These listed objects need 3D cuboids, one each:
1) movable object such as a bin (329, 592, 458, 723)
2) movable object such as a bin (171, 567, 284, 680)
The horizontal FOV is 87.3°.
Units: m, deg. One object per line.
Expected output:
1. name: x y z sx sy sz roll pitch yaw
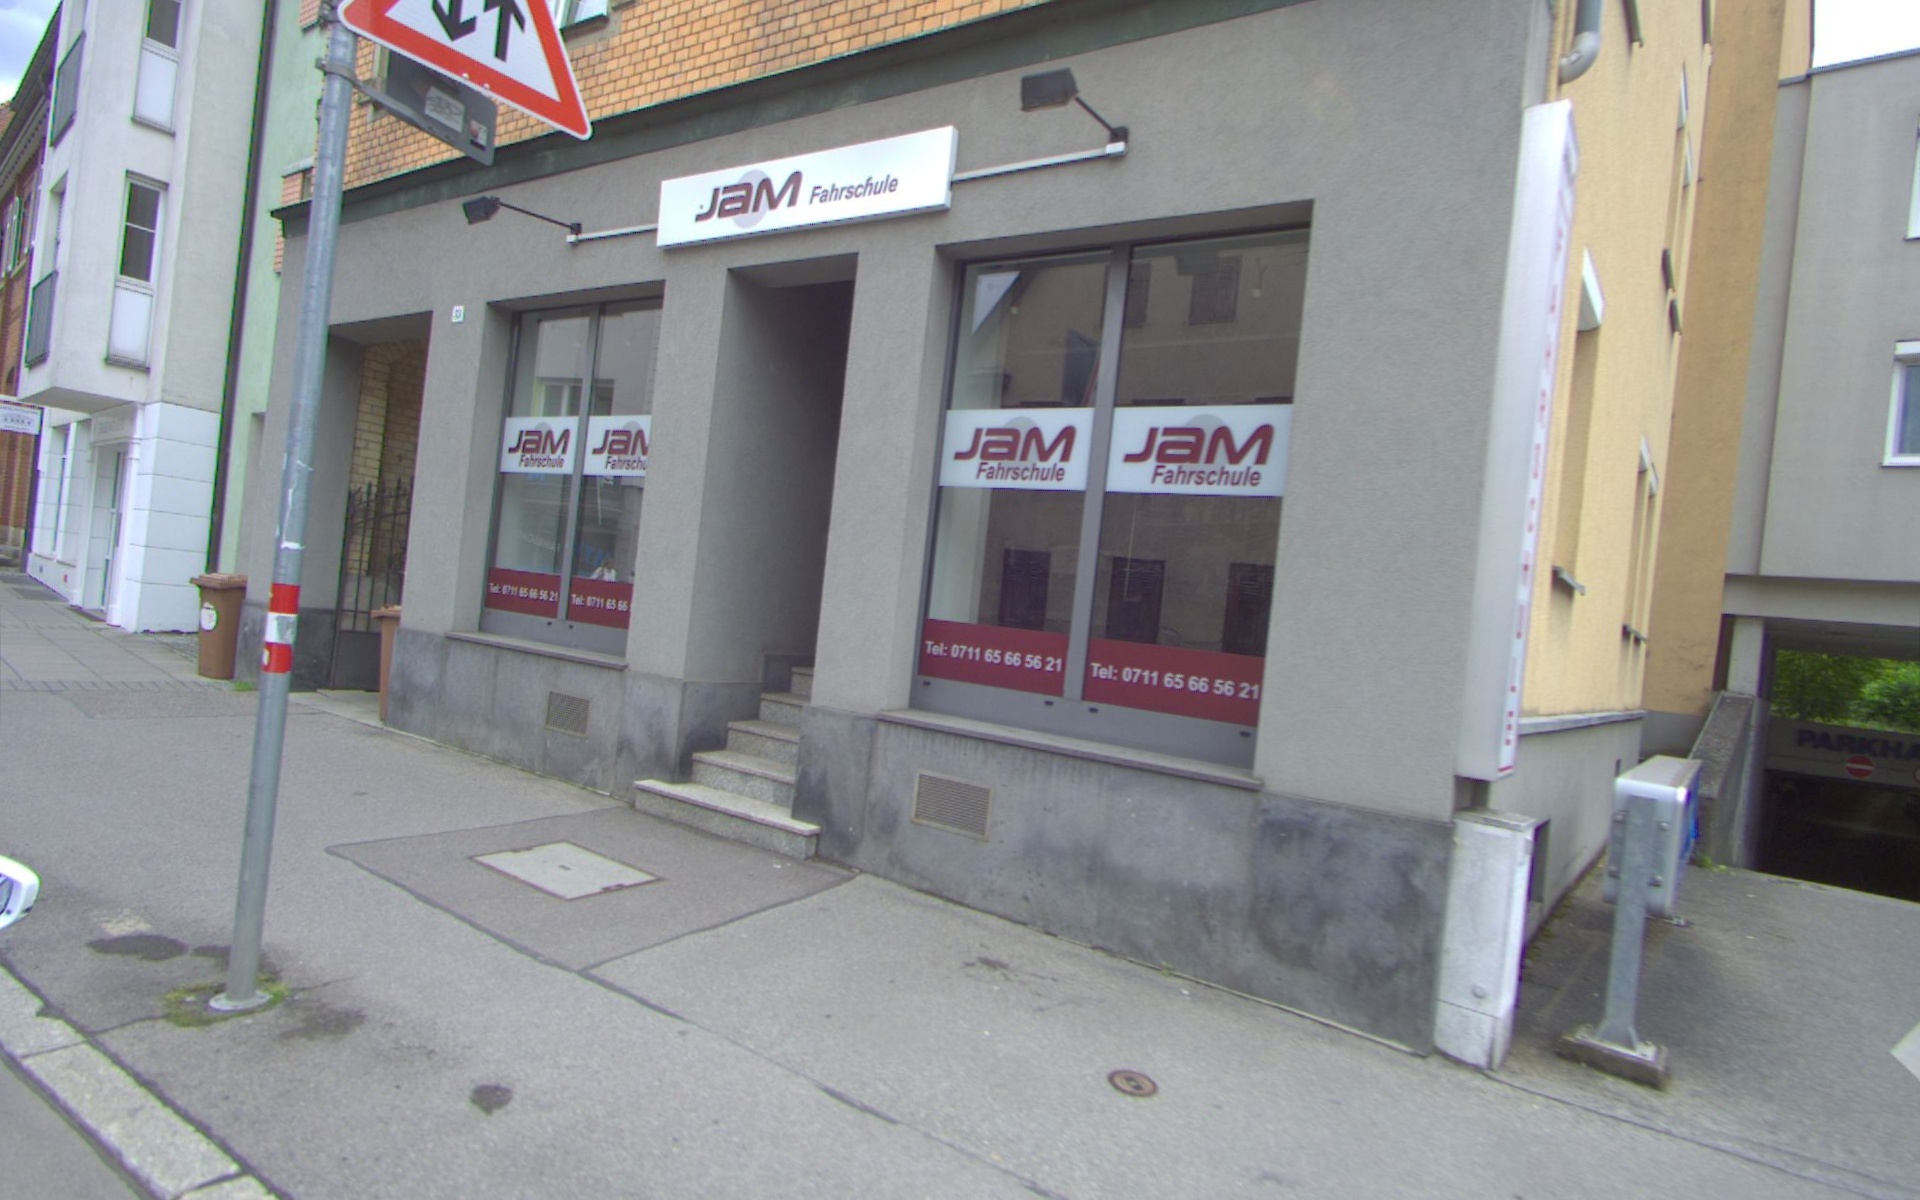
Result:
1. movable object such as a bin: -4.603 0.464 8.178 0.728 0.945 0.580 7 1 35
2. movable object such as a bin: -6.666 0.221 9.155 0.572 0.932 0.619 8 1 37
